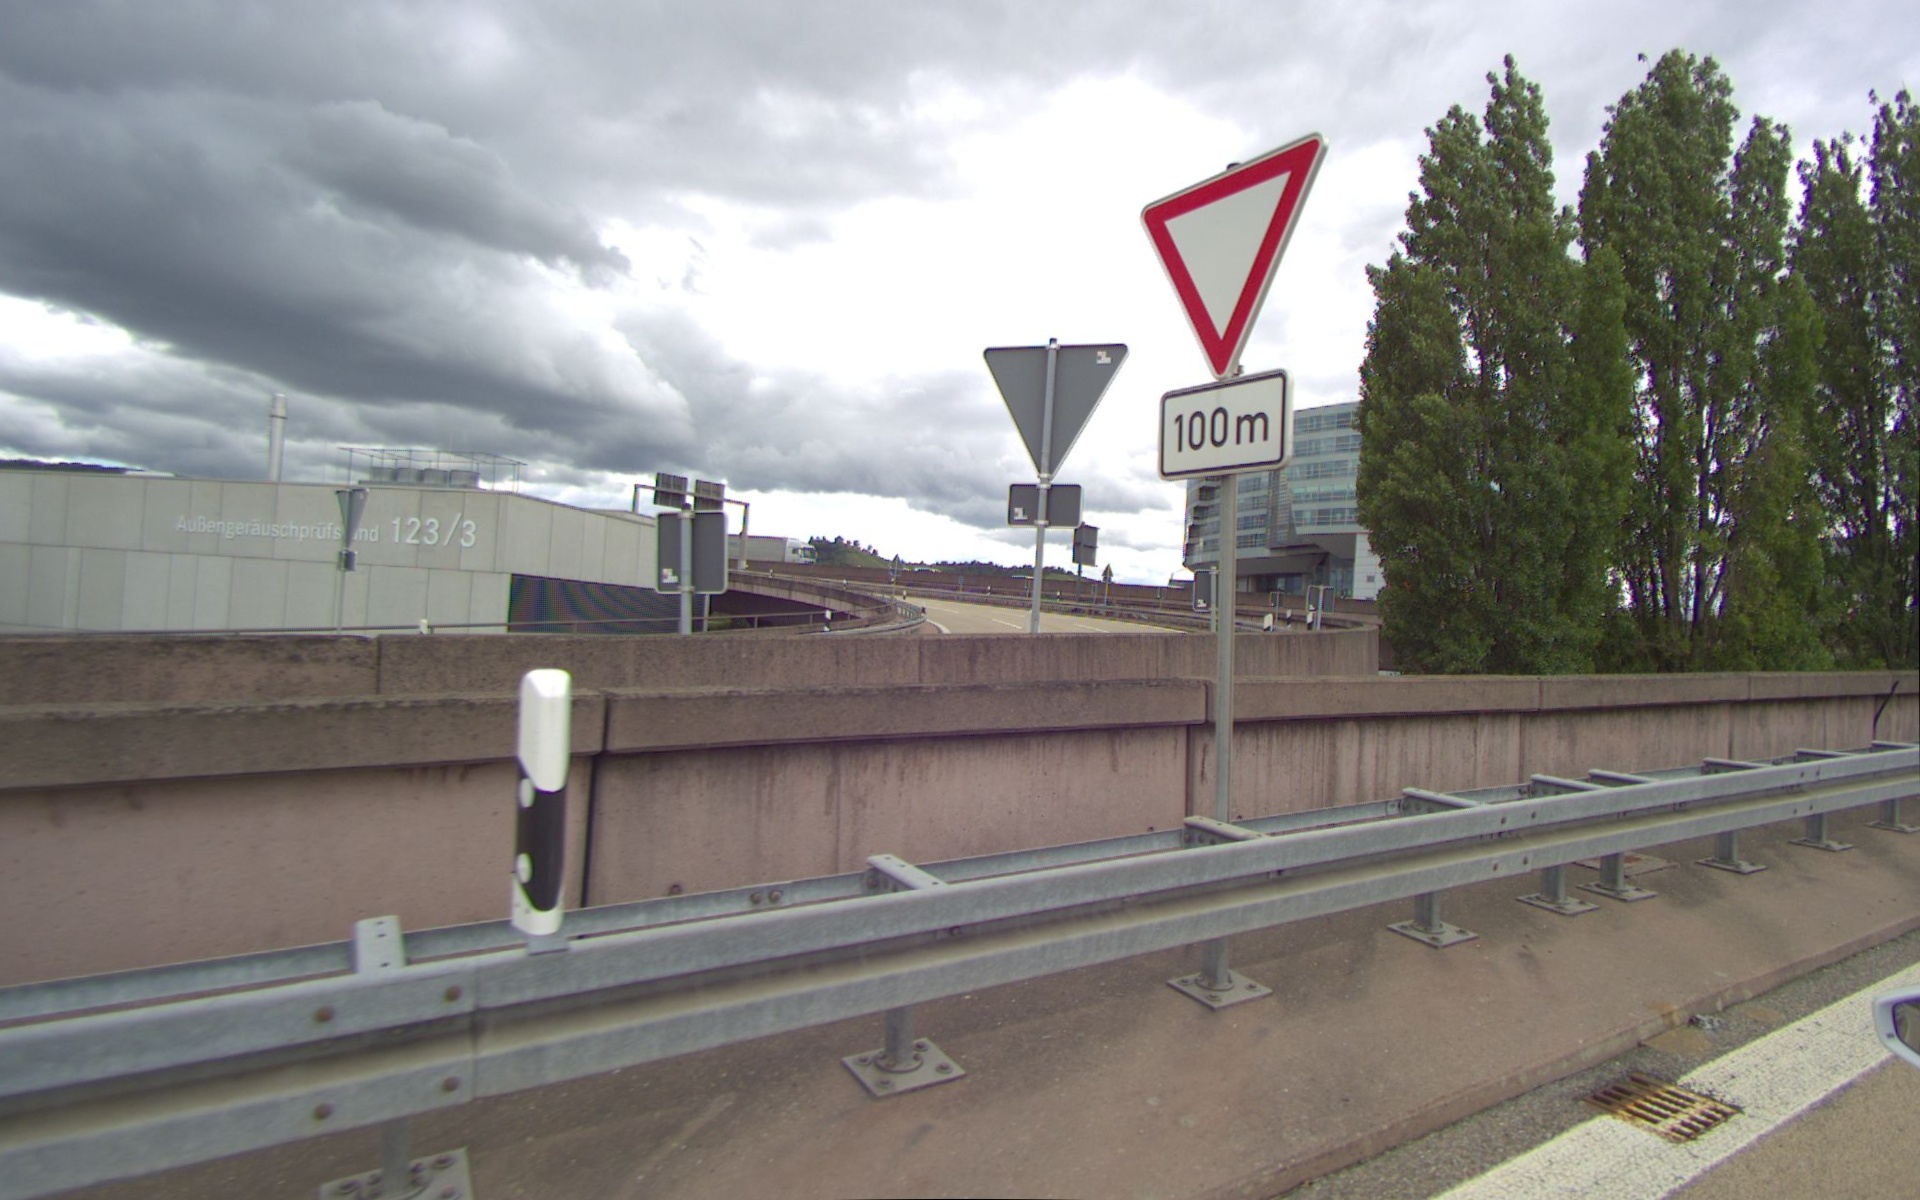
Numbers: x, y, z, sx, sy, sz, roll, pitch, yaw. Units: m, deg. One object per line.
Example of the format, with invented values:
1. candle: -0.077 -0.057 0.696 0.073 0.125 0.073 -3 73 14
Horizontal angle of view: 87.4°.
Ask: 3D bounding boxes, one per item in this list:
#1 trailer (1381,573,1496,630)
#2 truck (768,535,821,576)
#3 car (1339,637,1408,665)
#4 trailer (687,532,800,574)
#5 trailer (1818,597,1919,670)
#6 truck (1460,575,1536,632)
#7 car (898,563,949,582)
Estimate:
1. trailer: 35.007 0.091 73.606 7.187 3.738 2.693 3 -1 33
2. truck: -17.816 -4.811 108.277 4.705 4.065 2.860 4 3 29
3. car: 29.213 3.588 71.011 4.192 1.525 1.847 4 2 33
4. trailer: -24.231 -5.274 111.953 13.721 4.065 2.860 4 3 29
5. trailer: 54.734 2.083 55.266 10.960 3.786 2.795 3 -1 32
6. truck: 38.266 0.257 71.466 4.363 3.738 2.693 3 -1 33
7. car: -3.656 -2.724 99.402 4.812 1.691 1.993 4 2 36
